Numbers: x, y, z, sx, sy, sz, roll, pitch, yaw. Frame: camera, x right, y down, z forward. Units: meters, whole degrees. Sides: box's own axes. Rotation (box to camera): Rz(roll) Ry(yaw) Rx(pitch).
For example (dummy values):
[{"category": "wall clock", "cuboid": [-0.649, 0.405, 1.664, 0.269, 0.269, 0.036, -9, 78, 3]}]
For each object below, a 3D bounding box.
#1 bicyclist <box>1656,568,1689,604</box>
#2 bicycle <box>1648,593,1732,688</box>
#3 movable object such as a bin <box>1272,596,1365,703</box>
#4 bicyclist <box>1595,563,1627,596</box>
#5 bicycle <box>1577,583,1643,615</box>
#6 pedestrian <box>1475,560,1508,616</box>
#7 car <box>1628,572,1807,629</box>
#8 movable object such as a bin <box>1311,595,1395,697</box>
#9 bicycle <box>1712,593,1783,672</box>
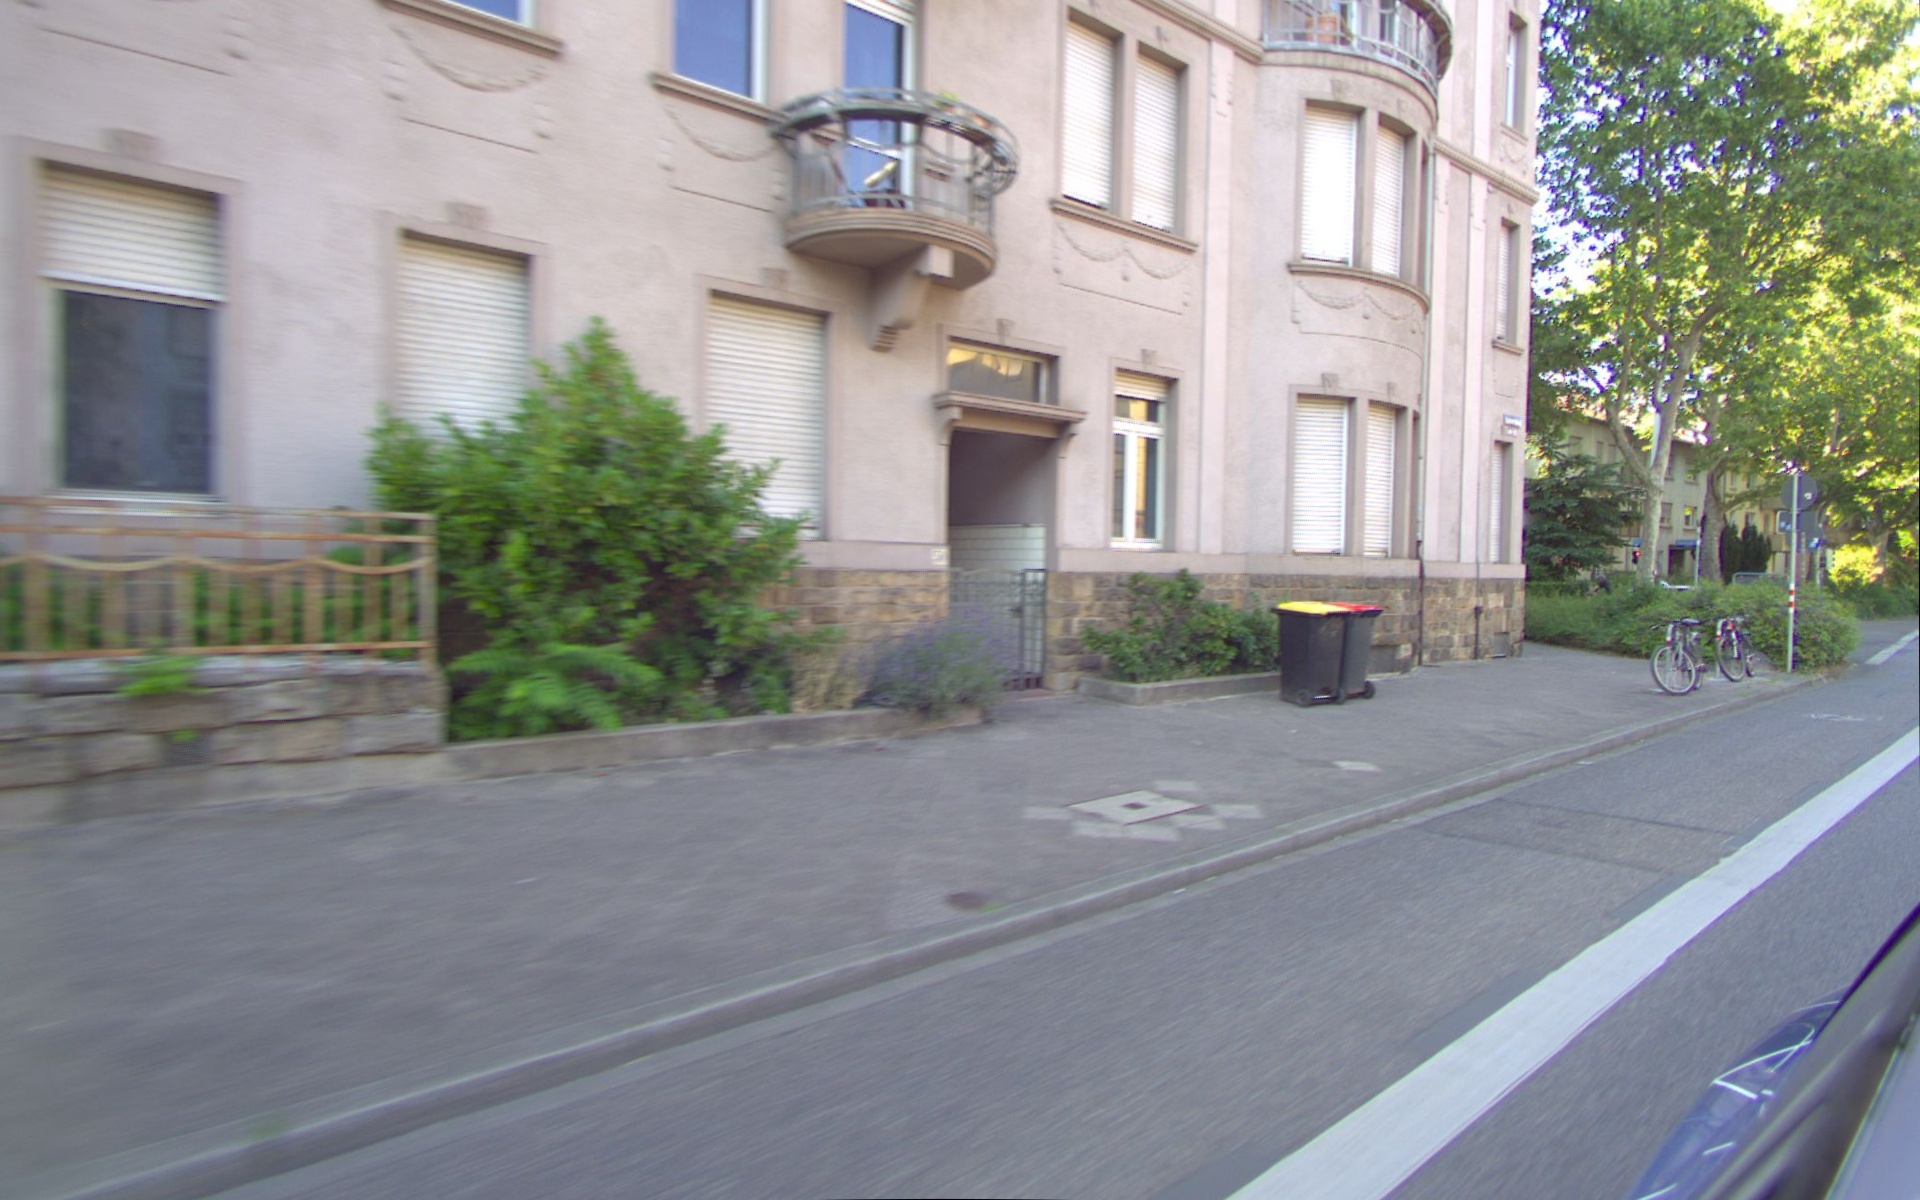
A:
[{"category": "bicyclist", "cuboid": [25.781, -0.506, 36.642, 0.648, 1.251, 0.768, -1, 3, -33]}, {"category": "bicycle", "cuboid": [9.363, 0.482, 12.958, 1.899, 1.112, 0.437, -1, 2, -42]}, {"category": "movable object such as a bin", "cuboid": [3.819, 0.505, 10.796, 0.645, 1.059, 0.659, -1, 3, -24]}, {"category": "bicyclist", "cuboid": [23.476, -0.738, 36.510, 0.600, 1.172, 0.768, -1, 3, -33]}, {"category": "bicycle", "cuboid": [23.466, -0.049, 36.559, 0.640, 1.119, 1.925, -1, 1, -33]}, {"category": "pedestrian", "cuboid": [17.621, -0.407, 33.559, 0.688, 1.828, 0.667, -1, 3, -29]}, {"category": "car", "cuboid": [23.278, -0.044, 31.257, 1.746, 1.544, 4.061, -1, 3, -31]}, {"category": "movable object such as a bin", "cuboid": [4.352, 0.488, 11.221, 0.645, 1.059, 0.572, -1, 3, -24]}, {"category": "bicycle", "cuboid": [11.642, 0.456, 14.944, 1.840, 1.082, 0.371, -1, 2, -38]}]
